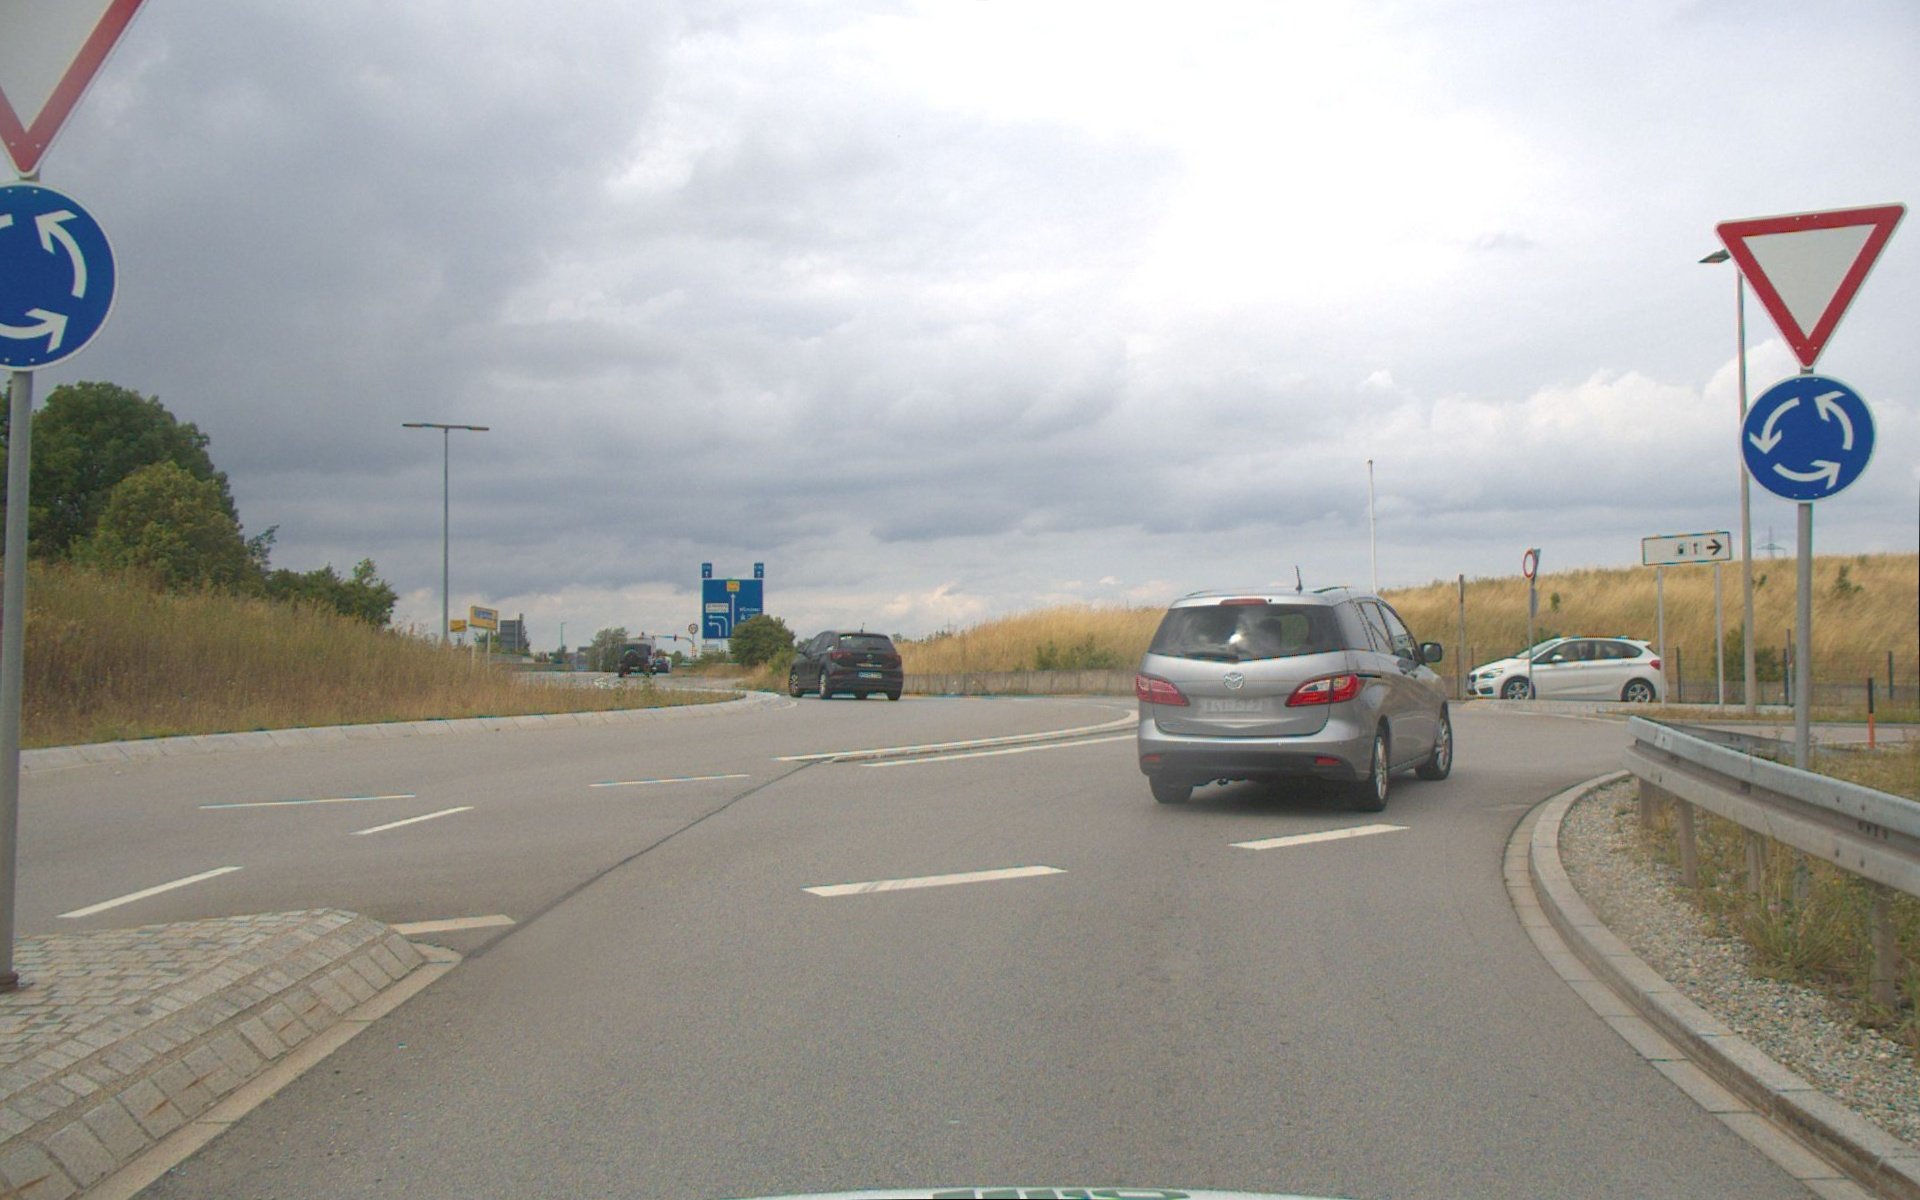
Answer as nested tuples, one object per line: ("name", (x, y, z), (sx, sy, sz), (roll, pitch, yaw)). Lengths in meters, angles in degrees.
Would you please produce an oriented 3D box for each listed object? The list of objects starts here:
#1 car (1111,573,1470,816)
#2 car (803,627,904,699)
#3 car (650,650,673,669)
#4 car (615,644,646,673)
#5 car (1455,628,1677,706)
("car", (2.775, 0.676, 13.140), (1.873, 1.602, 3.997), (-2, -2, 25))
("car", (-2.357, 1.303, 35.620), (1.632, 1.402, 3.988), (-1, -1, -11))
("car", (-26.088, 5.184, 144.408), (1.572, 1.576, 4.029), (-1, -1, -15))
("car", (-19.489, 3.450, 97.734), (1.572, 1.576, 4.029), (-1, -1, -15))
("car", (13.474, 1.468, 36.962), (4.321, 1.657, 1.785), (0, 0, 3))
